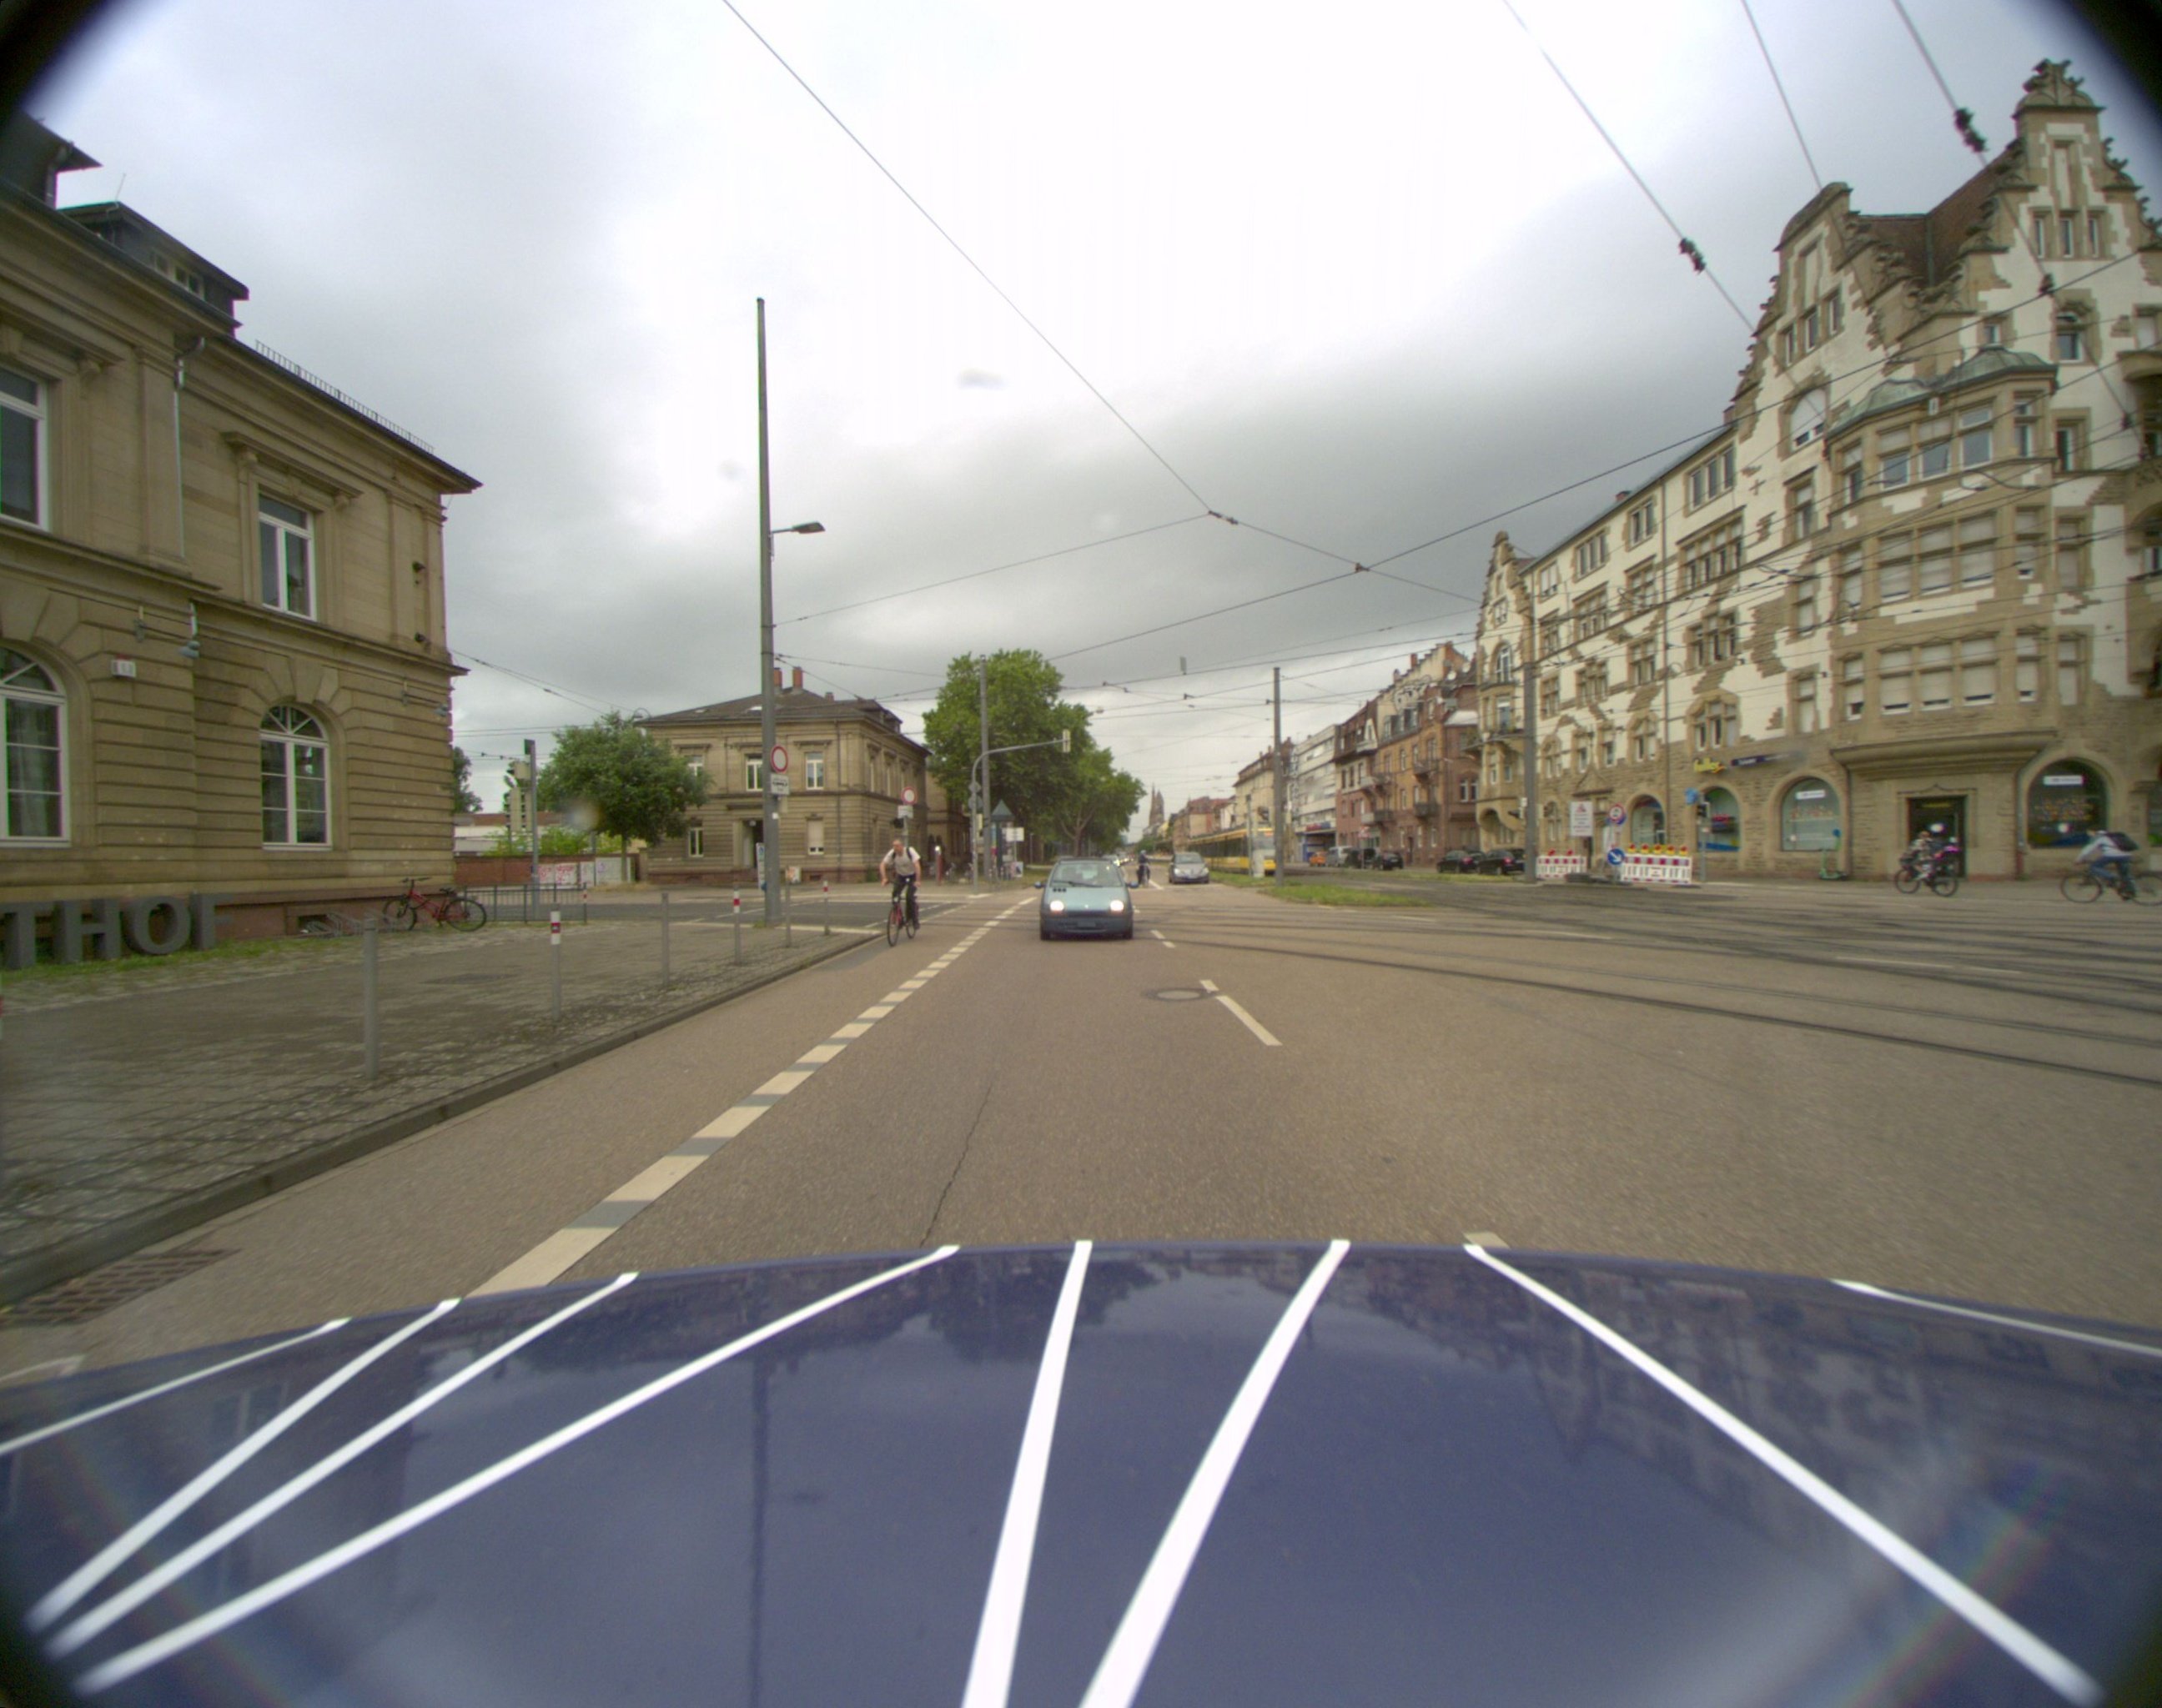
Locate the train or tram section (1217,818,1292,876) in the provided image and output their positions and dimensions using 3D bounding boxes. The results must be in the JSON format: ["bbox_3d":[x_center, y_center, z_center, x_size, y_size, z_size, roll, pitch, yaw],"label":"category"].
[{"bbox_3d":[11.599,-0.494,52.327,2.651,3.417,13.619,-1,1,3],"label":"train or tram section"}]

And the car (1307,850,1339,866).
[{"bbox_3d":[25.575,0.440,80.387,1.999,1.587,3.999,-1,1,0],"label":"car"}]

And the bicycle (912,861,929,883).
[{"bbox_3d":[-8.851,0.966,42.018,0.677,1.158,2.113,-1,1,-6],"label":"bicycle"}]

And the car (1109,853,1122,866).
[{"bbox_3d":[4.295,0.692,94.943,1.534,1.464,3.354,0,1,4],"label":"car"}]

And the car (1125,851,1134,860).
[{"bbox_3d":[12.234,0.377,192.341,1.998,2.002,3.999,-1,1,1],"label":"car"}]

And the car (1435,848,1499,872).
[{"bbox_3d":[24.320,0.342,48.003,1.999,1.434,3.999,-1,1,0],"label":"car"}]

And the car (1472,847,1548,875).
[{"bbox_3d":[24.168,0.359,42.958,1.999,1.434,3.999,-1,1,0],"label":"car"}]

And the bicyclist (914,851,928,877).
[{"bbox_3d":[-8.841,0.559,41.967,0.695,1.392,0.815,-1,1,-9],"label":"bicyclist"}]

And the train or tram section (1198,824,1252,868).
[{"bbox_3d":[12.254,-0.718,65.899,2.651,3.417,13.619,-1,1,3],"label":"train or tram section"}]

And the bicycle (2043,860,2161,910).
[{"bbox_3d":[22.836,0.663,16.783,0.724,1.030,1.909,-1,-1,-2],"label":"bicycle"}]

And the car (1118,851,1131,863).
[{"bbox_3d":[7.357,0.446,128.495,1.998,2.002,3.999,-1,1,1],"label":"car"}]

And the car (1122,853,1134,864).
[{"bbox_3d":[9.059,0.802,146.147,1.998,2.002,3.999,-1,1,1],"label":"car"}]

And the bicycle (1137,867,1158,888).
[{"bbox_3d":[3.056,1.107,35.278,0.811,0.939,2.147,-1,-2,1],"label":"bicycle"}]

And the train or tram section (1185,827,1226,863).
[{"bbox_3d":[12.847,-0.931,79.515,2.651,3.417,13.619,-1,1,3],"label":"train or tram section"}]

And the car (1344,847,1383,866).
[{"bbox_3d":[24.928,0.193,67.156,1.999,1.587,3.999,-1,1,0],"label":"car"}]

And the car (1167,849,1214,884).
[{"bbox_3d":[5.534,0.584,38.739,1.869,1.630,3.775,-1,1,1],"label":"car"}]

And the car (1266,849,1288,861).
[{"bbox_3d":[27.112,0.077,105.131,1.999,1.587,3.999,-1,1,0],"label":"car"}]

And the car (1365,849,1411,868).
[{"bbox_3d":[24.674,0.354,61.206,1.999,1.434,3.999,-1,1,0],"label":"car"}]

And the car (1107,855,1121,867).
[{"bbox_3d":[3.757,0.780,87.929,1.546,1.336,3.796,-1,0,2],"label":"car"}]

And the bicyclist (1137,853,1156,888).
[{"bbox_3d":[3.041,0.766,35.239,0.812,1.586,0.890,-1,-1,1],"label":"bicyclist"}]

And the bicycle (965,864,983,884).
[{"bbox_3d":[-5.975,1.128,42.666,0.718,1.062,1.699,-1,1,1],"label":"bicycle"}]

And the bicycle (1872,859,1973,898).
[{"bbox_3d":[23.390,0.648,21.179,0.708,1.031,2.024,-1,0,6],"label":"bicycle"}]

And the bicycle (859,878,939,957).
[{"bbox_3d":[-3.154,1.057,13.400,0.814,1.163,2.277,-1,1,1],"label":"bicycle"}]

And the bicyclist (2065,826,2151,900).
[{"bbox_3d":[22.825,0.208,16.905,0.724,1.596,0.859,-1,0,-2],"label":"bicyclist"}]

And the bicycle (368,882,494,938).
[{"bbox_3d":[-13.043,1.122,15.293,1.859,1.072,0.547,2,1,-16],"label":"bicycle"}]

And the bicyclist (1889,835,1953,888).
[{"bbox_3d":[23.381,0.204,21.173,0.708,1.435,0.973,-1,0,6],"label":"bicyclist"}]

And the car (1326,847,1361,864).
[{"bbox_3d":[25.444,0.095,73.716,1.999,1.587,3.999,-1,1,0],"label":"car"}]

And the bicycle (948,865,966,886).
[{"bbox_3d":[-6.953,1.200,42.743,0.718,1.062,1.699,-1,1,1],"label":"bicycle"}]

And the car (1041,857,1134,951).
[{"bbox_3d":[0.215,0.828,14.155,1.534,1.464,3.354,0,1,4],"label":"car"}]

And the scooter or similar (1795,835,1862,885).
[{"bbox_3d":[26.630,0.191,27.105,0.565,1.706,1.830,-1,1,1],"label":"scooter or similar"}]

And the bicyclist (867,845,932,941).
[{"bbox_3d":[-3.164,0.651,13.376,0.812,1.591,1.189,-1,1,1],"label":"bicyclist"}]

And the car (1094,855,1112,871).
[{"bbox_3d":[2.094,0.812,70.729,1.534,1.464,3.354,0,1,4],"label":"car"}]

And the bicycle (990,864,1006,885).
[{"bbox_3d":[-4.655,1.136,42.690,0.718,1.062,1.699,-1,1,1],"label":"bicycle"}]
